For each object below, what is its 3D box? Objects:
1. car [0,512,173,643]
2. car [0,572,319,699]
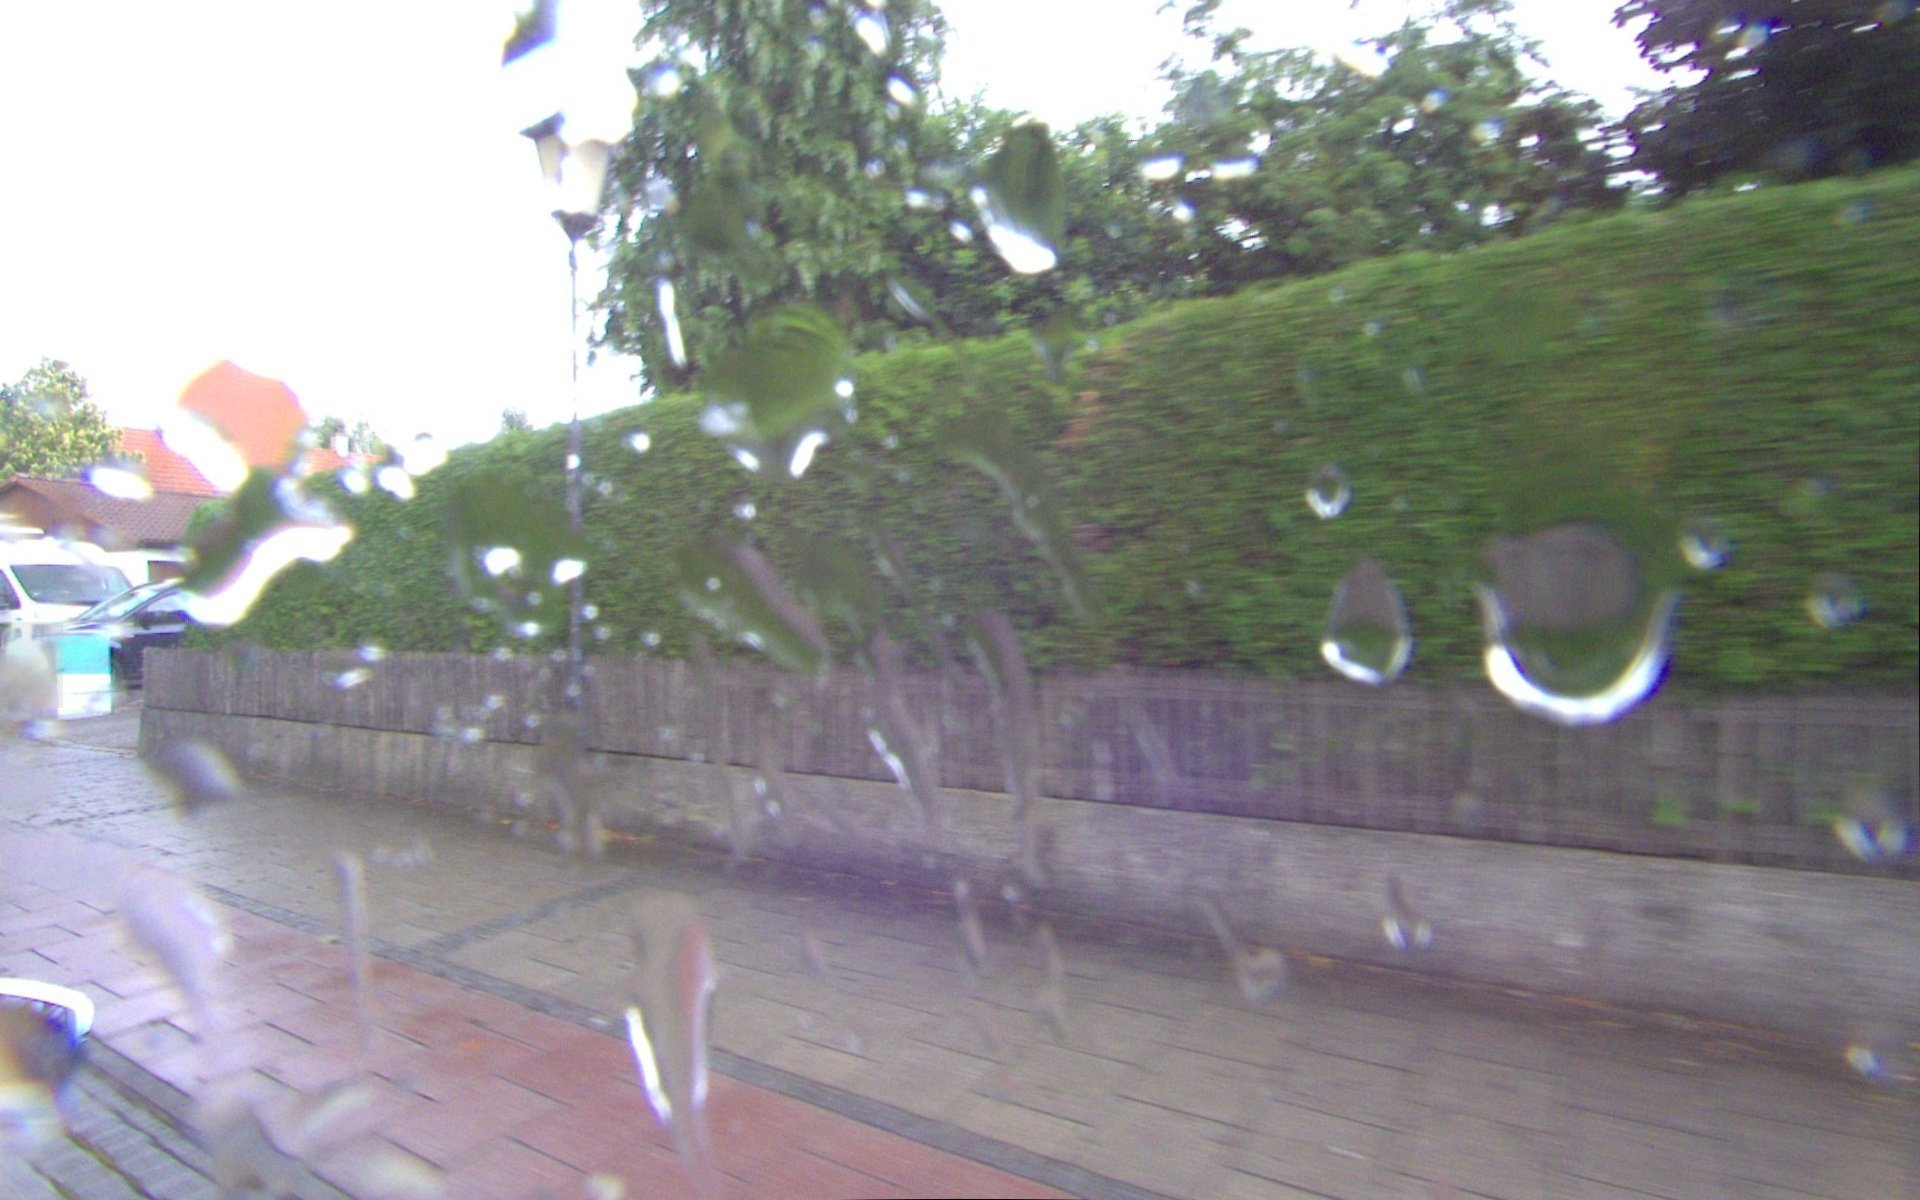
[{"bbox_3d":[-17.421,-0.309,18.684,4.866,2.201,1.997,-1,-2,20],"label":"car"},{"bbox_3d":[-13.043,0.486,16.332,1.668,1.775,4.088,2,1,29],"label":"car"}]
